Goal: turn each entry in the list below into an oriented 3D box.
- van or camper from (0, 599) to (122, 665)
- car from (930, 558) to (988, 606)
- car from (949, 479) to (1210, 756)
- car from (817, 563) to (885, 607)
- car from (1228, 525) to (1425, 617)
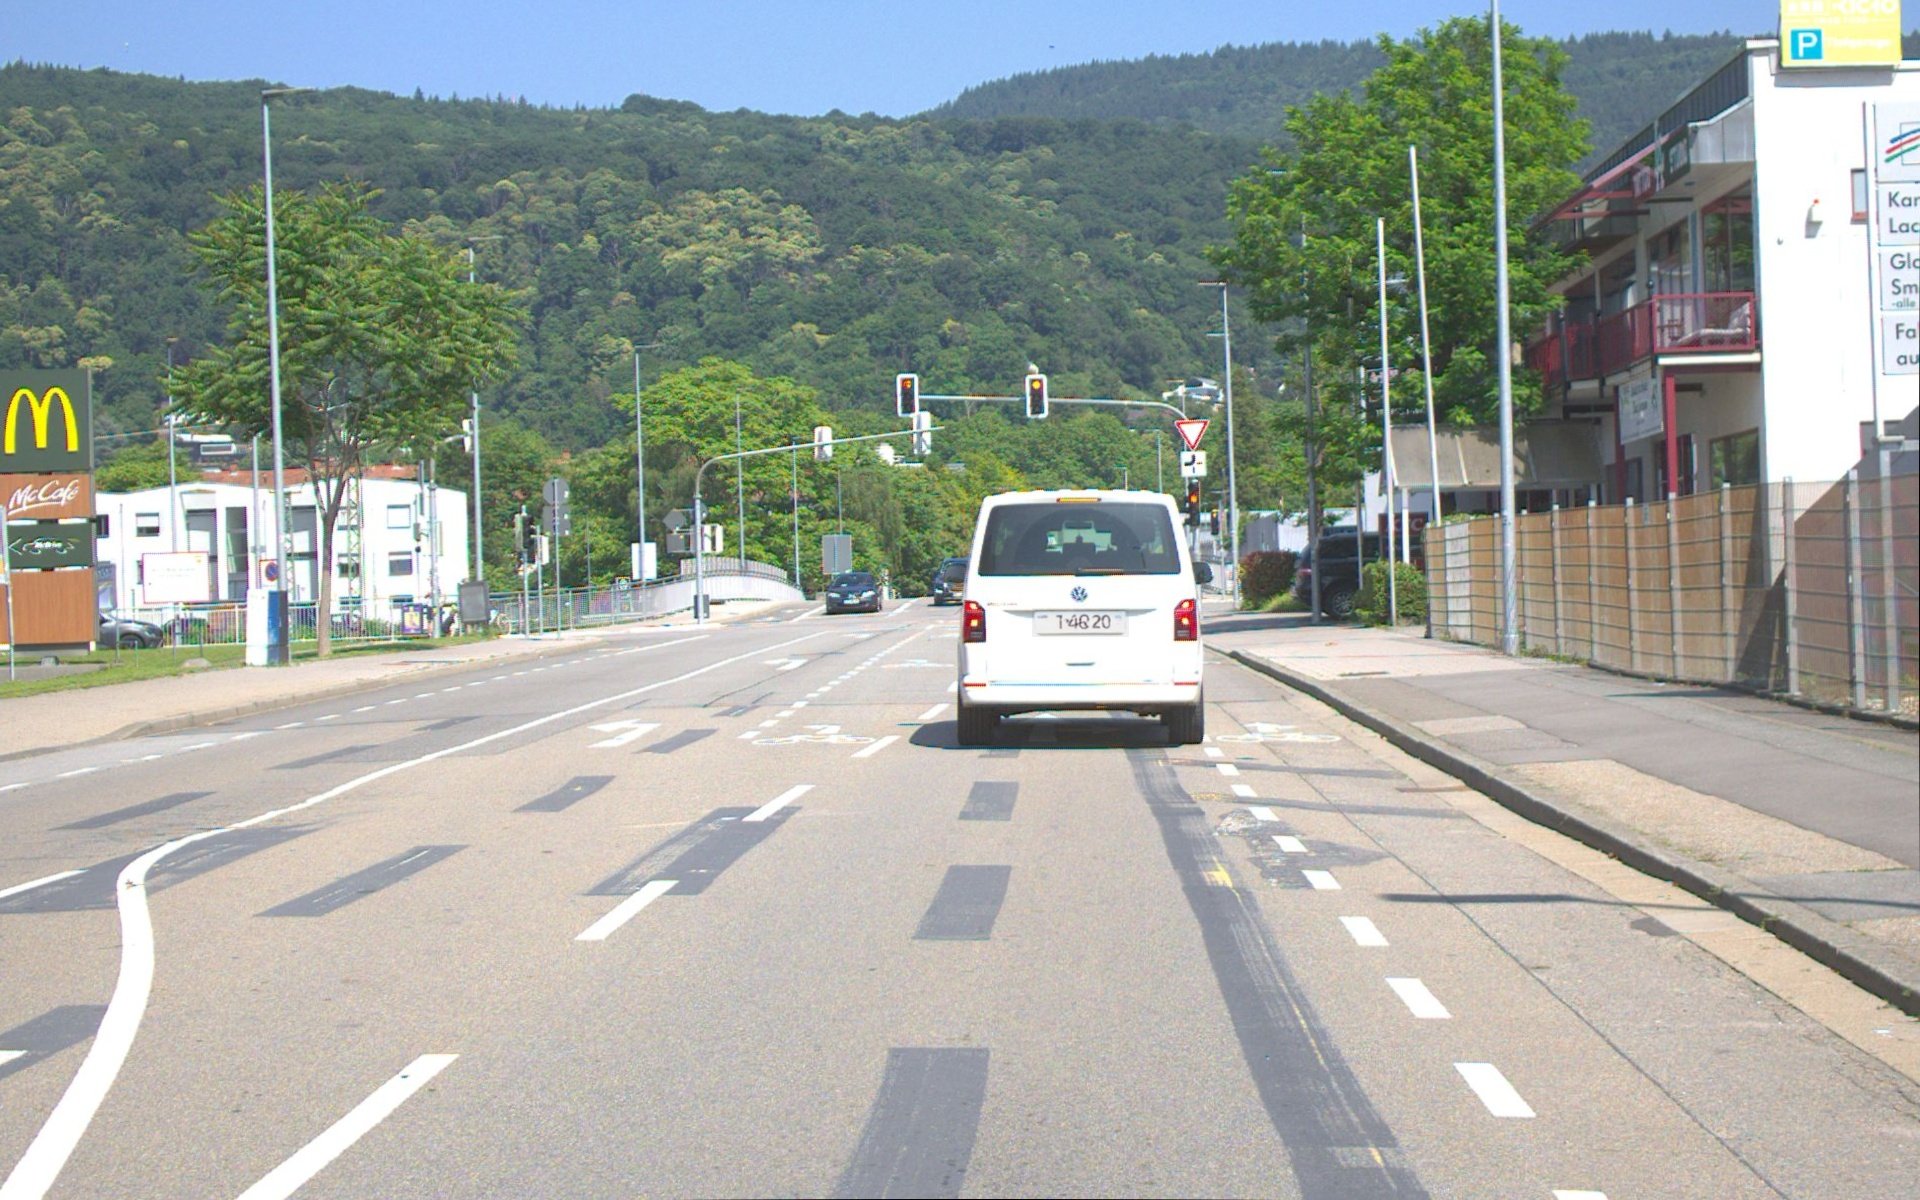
[{"bbox_3d":[-22.793,0.792,84.909,3.986,1.568,2.001,0,1,-16],"label":"van or camper"},{"bbox_3d":[-0.025,-0.661,121.130,1.849,1.583,4.000,-2,1,2],"label":"car"},{"bbox_3d":[0.889,0.088,27.780,1.934,2.052,4.544,0,1,0],"label":"car"},{"bbox_3d":[-3.686,-0.517,117.207,1.993,1.365,4.326,-2,1,2],"label":"car"},{"bbox_3d":[7.715,-0.611,72.199,3.988,1.769,1.999,-2,1,8],"label":"car"}]
